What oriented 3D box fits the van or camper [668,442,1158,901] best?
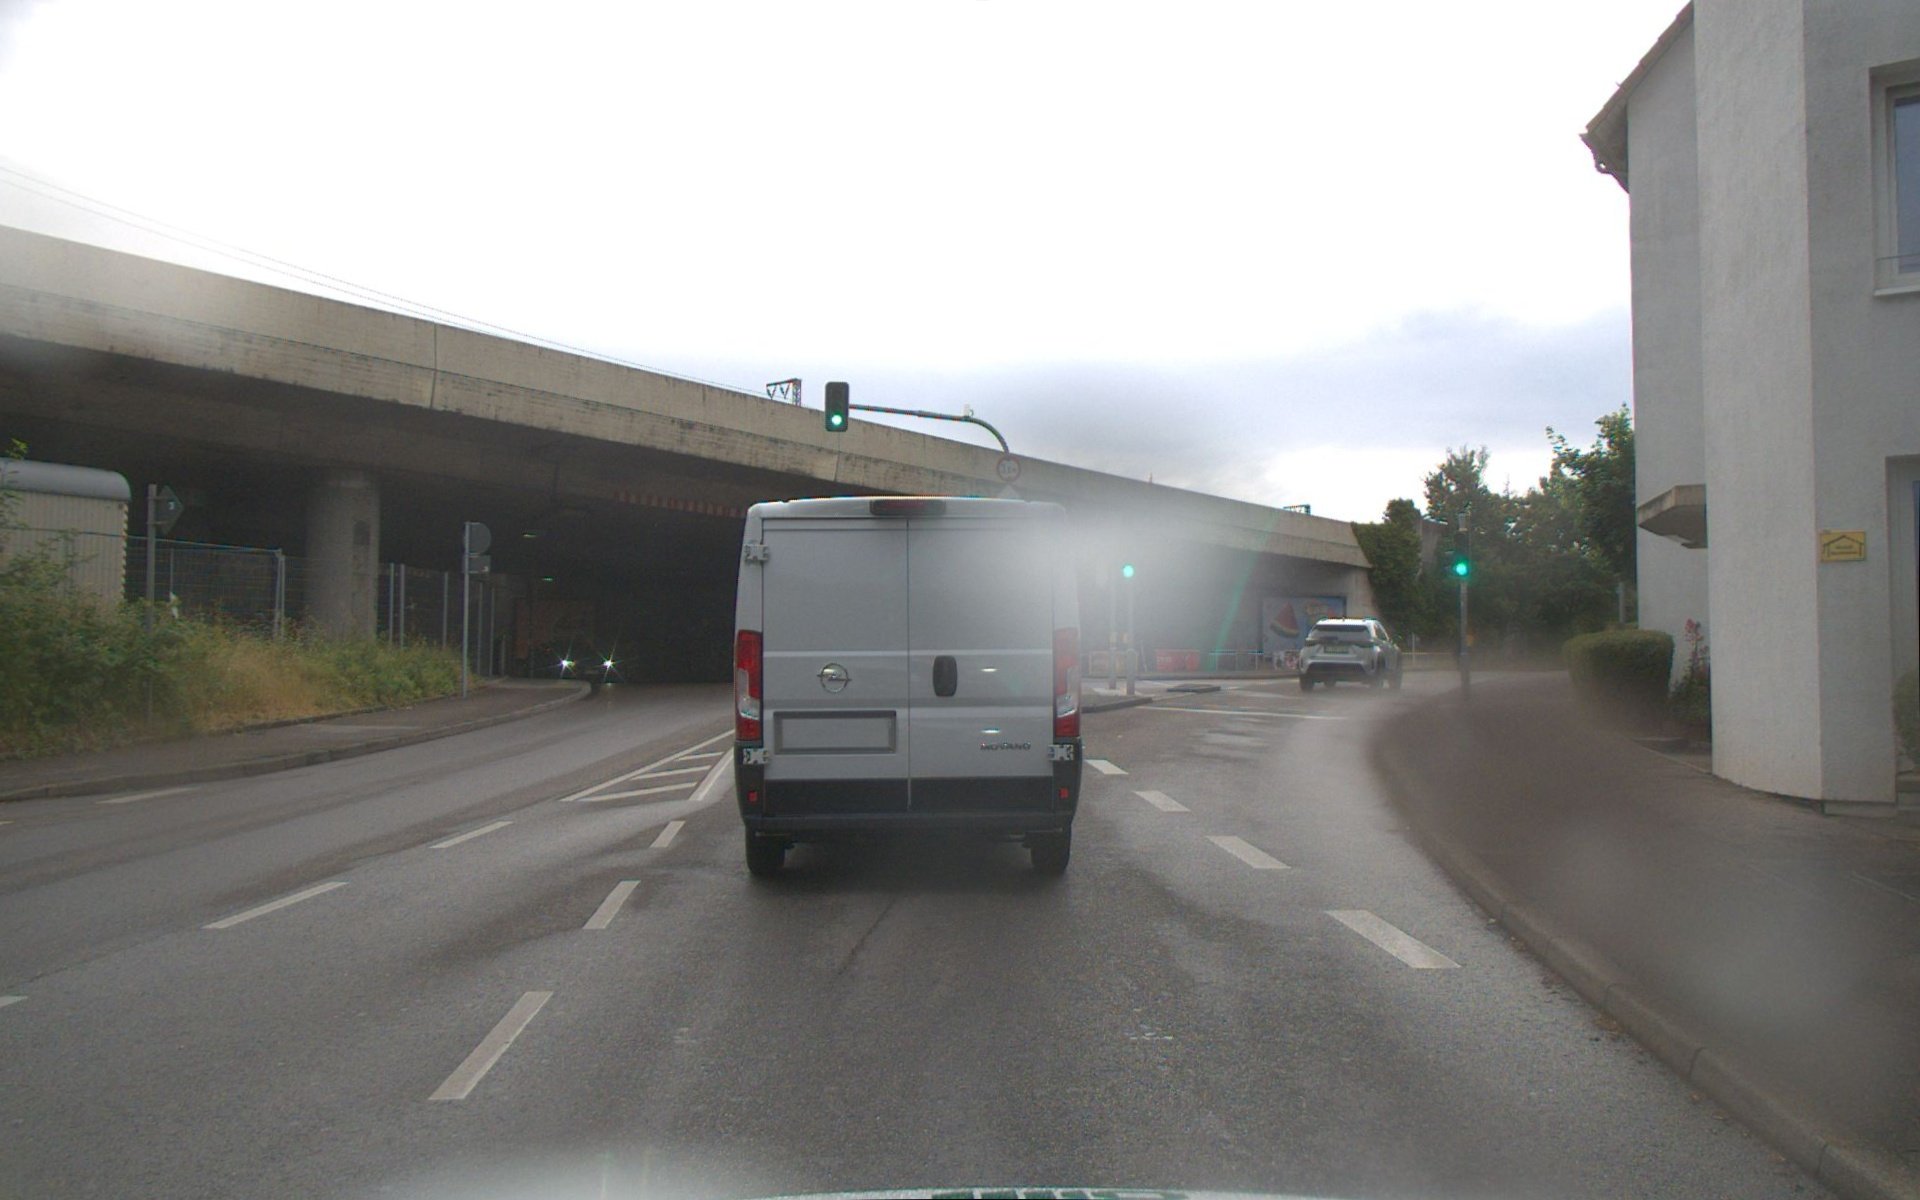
[{"bbox_3d":[-0.369,0.426,11.405,2.644,2.459,4.900,0,-1,-3],"label":"van or camper"}]

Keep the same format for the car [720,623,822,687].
[{"bbox_3d":[-5.629,1.587,48.853,1.967,1.780,3.971,0,-1,-23],"label":"car"}]

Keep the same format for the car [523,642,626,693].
[{"bbox_3d":[-12.903,2.215,55.173,1.975,1.557,4.449,1,-1,-33],"label":"car"}]

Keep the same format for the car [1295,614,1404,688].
[{"bbox_3d":[8.676,1.097,36.615,1.837,1.557,4.000,0,-1,21],"label":"car"}]
